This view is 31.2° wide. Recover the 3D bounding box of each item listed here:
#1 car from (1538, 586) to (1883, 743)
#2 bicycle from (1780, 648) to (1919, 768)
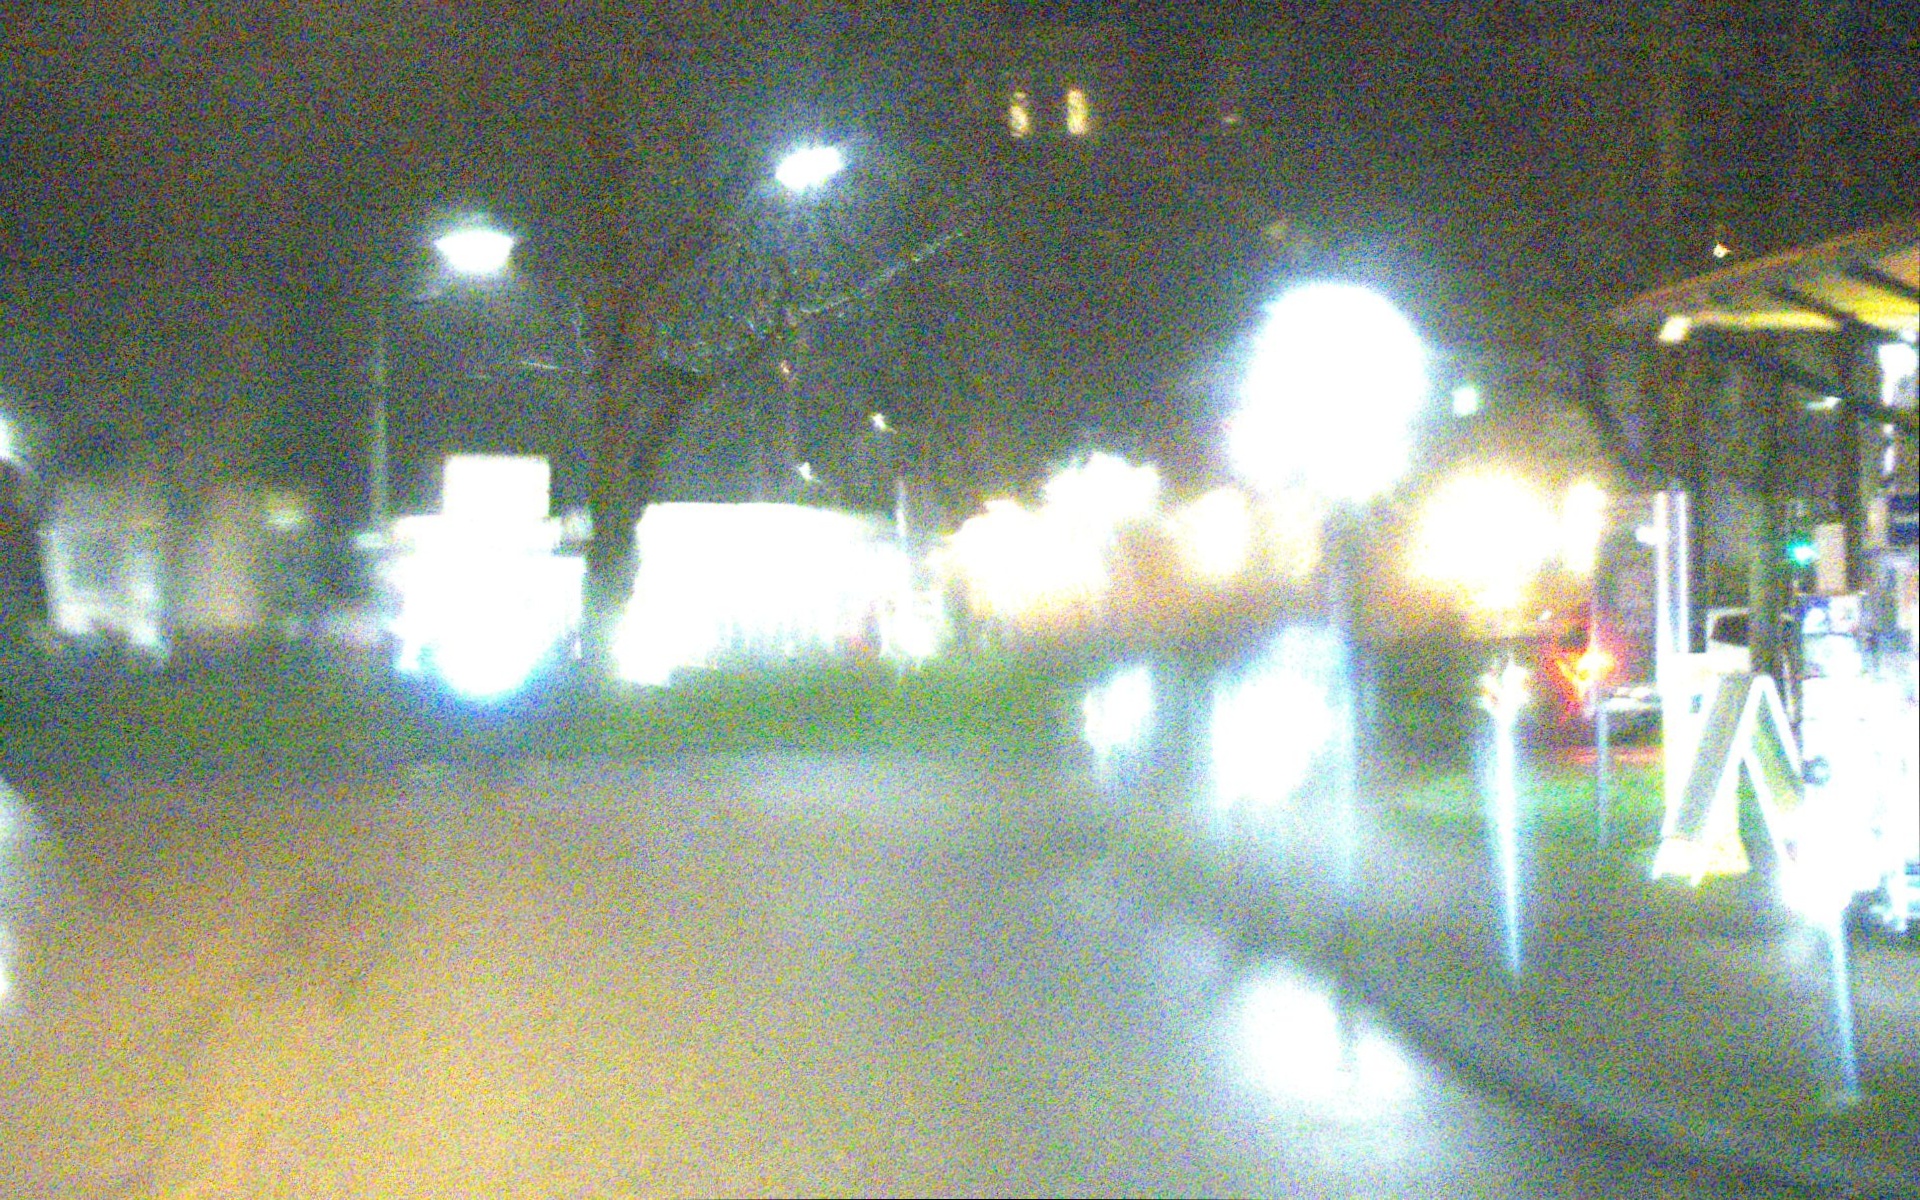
[{"bbox_3d":[8.197,0.706,37.479,3.450,1.608,1.736,2,-1,-34],"label":"car"},{"bbox_3d":[8.296,0.971,31.307,0.449,1.056,1.663,-1,0,-39],"label":"bicycle"}]
